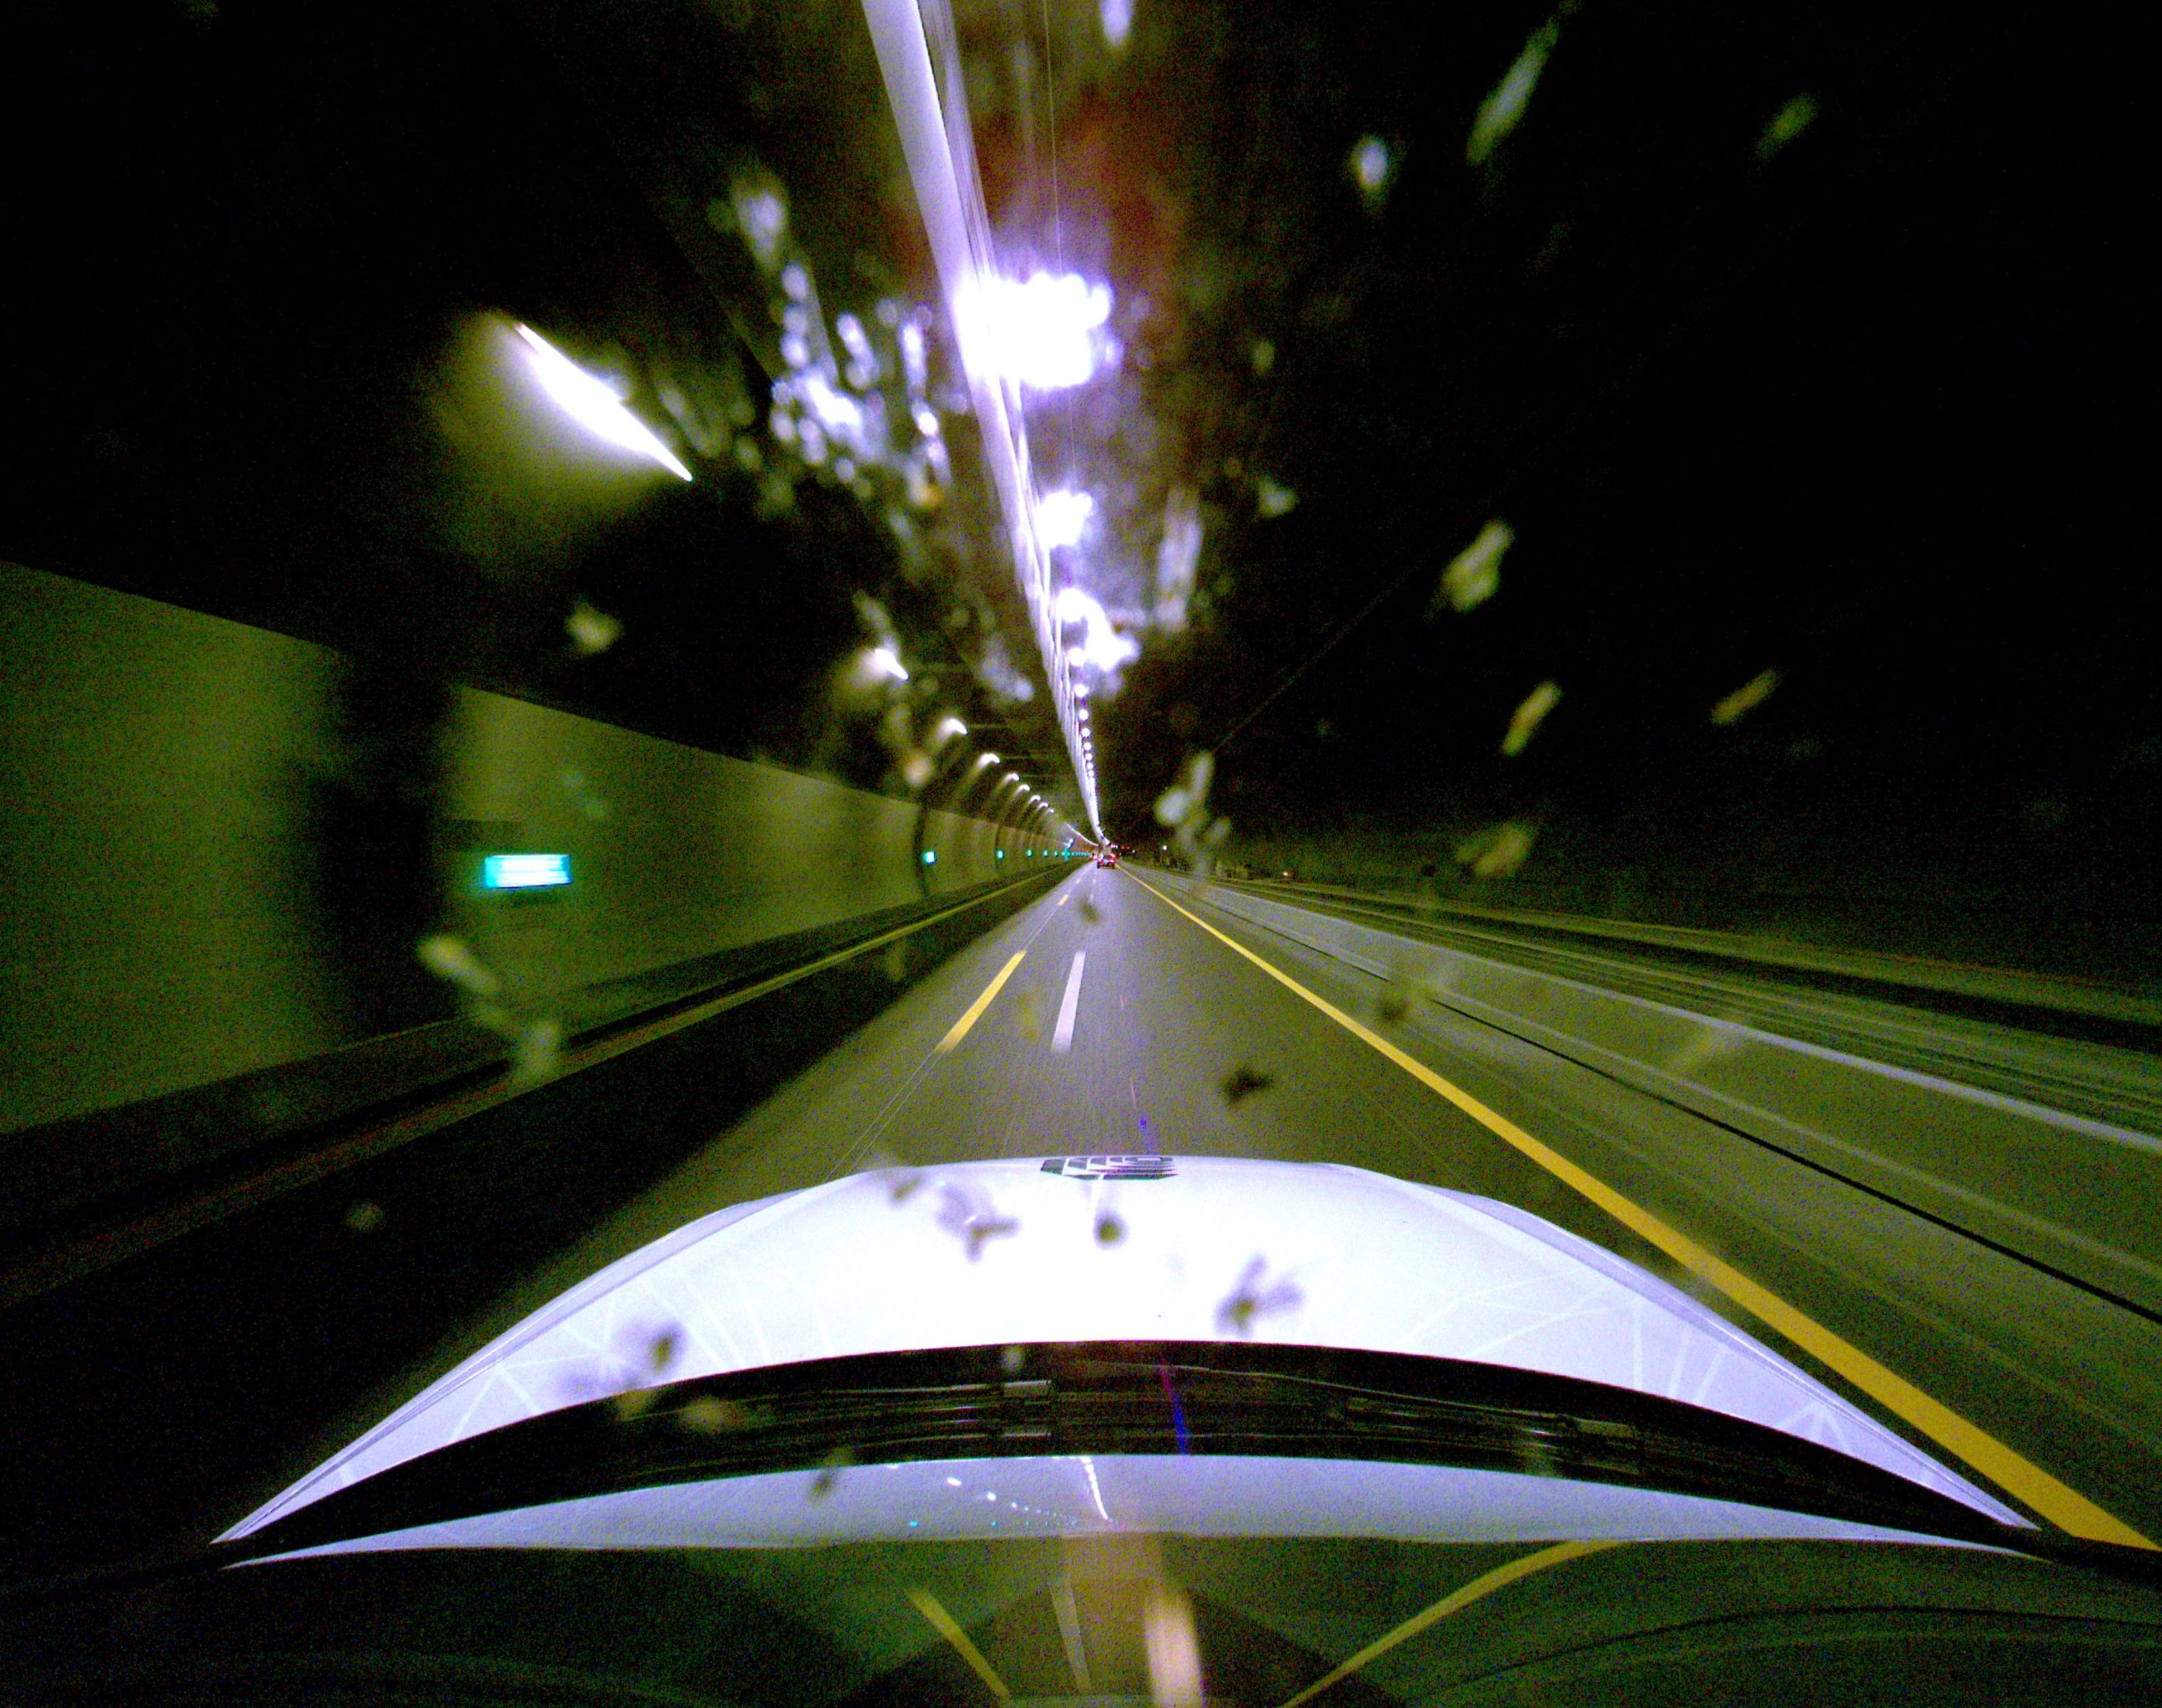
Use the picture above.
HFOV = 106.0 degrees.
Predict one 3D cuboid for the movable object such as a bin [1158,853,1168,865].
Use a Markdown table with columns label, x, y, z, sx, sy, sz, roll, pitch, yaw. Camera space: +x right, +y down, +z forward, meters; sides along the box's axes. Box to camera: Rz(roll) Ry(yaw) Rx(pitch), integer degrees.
| label | x | y | z | sx | sy | sz | roll | pitch | yaw |
| --- | --- | --- | --- | --- | --- | --- | --- | --- | --- |
| movable object such as a bin | 11.636 | 0.687 | 115.186 | 1.230 | 1.718 | 2.217 | 1 | 0 | 1 |

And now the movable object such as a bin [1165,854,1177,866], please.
| label | x | y | z | sx | sy | sz | roll | pitch | yaw |
| --- | --- | --- | --- | --- | --- | --- | --- | --- | --- |
| movable object such as a bin | 11.451 | 0.744 | 103.865 | 1.230 | 1.442 | 2.217 | 1 | 0 | 1 |

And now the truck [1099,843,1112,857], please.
| label | x | y | z | sx | sy | sz | roll | pitch | yaw |
| --- | --- | --- | --- | --- | --- | --- | --- | --- | --- |
| truck | 7.978 | -1.371 | 265.928 | 4.051 | 4.532 | 14.970 | -1 | 0 | 2 |

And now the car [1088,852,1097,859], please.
| label | x | y | z | sx | sy | sz | roll | pitch | yaw |
| --- | --- | --- | --- | --- | --- | --- | --- | --- | --- |
| car | 2.776 | 0.424 | 196.341 | 1.924 | 1.687 | 4.000 | -1 | 0 | 1 |

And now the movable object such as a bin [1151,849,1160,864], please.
| label | x | y | z | sx | sy | sz | roll | pitch | yaw |
| --- | --- | --- | --- | --- | --- | --- | --- | --- | --- |
| movable object such as a bin | 11.148 | 0.376 | 122.048 | 1.230 | 2.141 | 2.217 | 1 | 0 | 1 |

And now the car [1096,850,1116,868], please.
| label | x | y | z | sx | sy | sz | roll | pitch | yaw |
| --- | --- | --- | --- | --- | --- | --- | --- | --- | --- |
| car | 2.640 | 0.532 | 86.576 | 1.941 | 1.794 | 3.999 | -1 | 0 | -1 |
